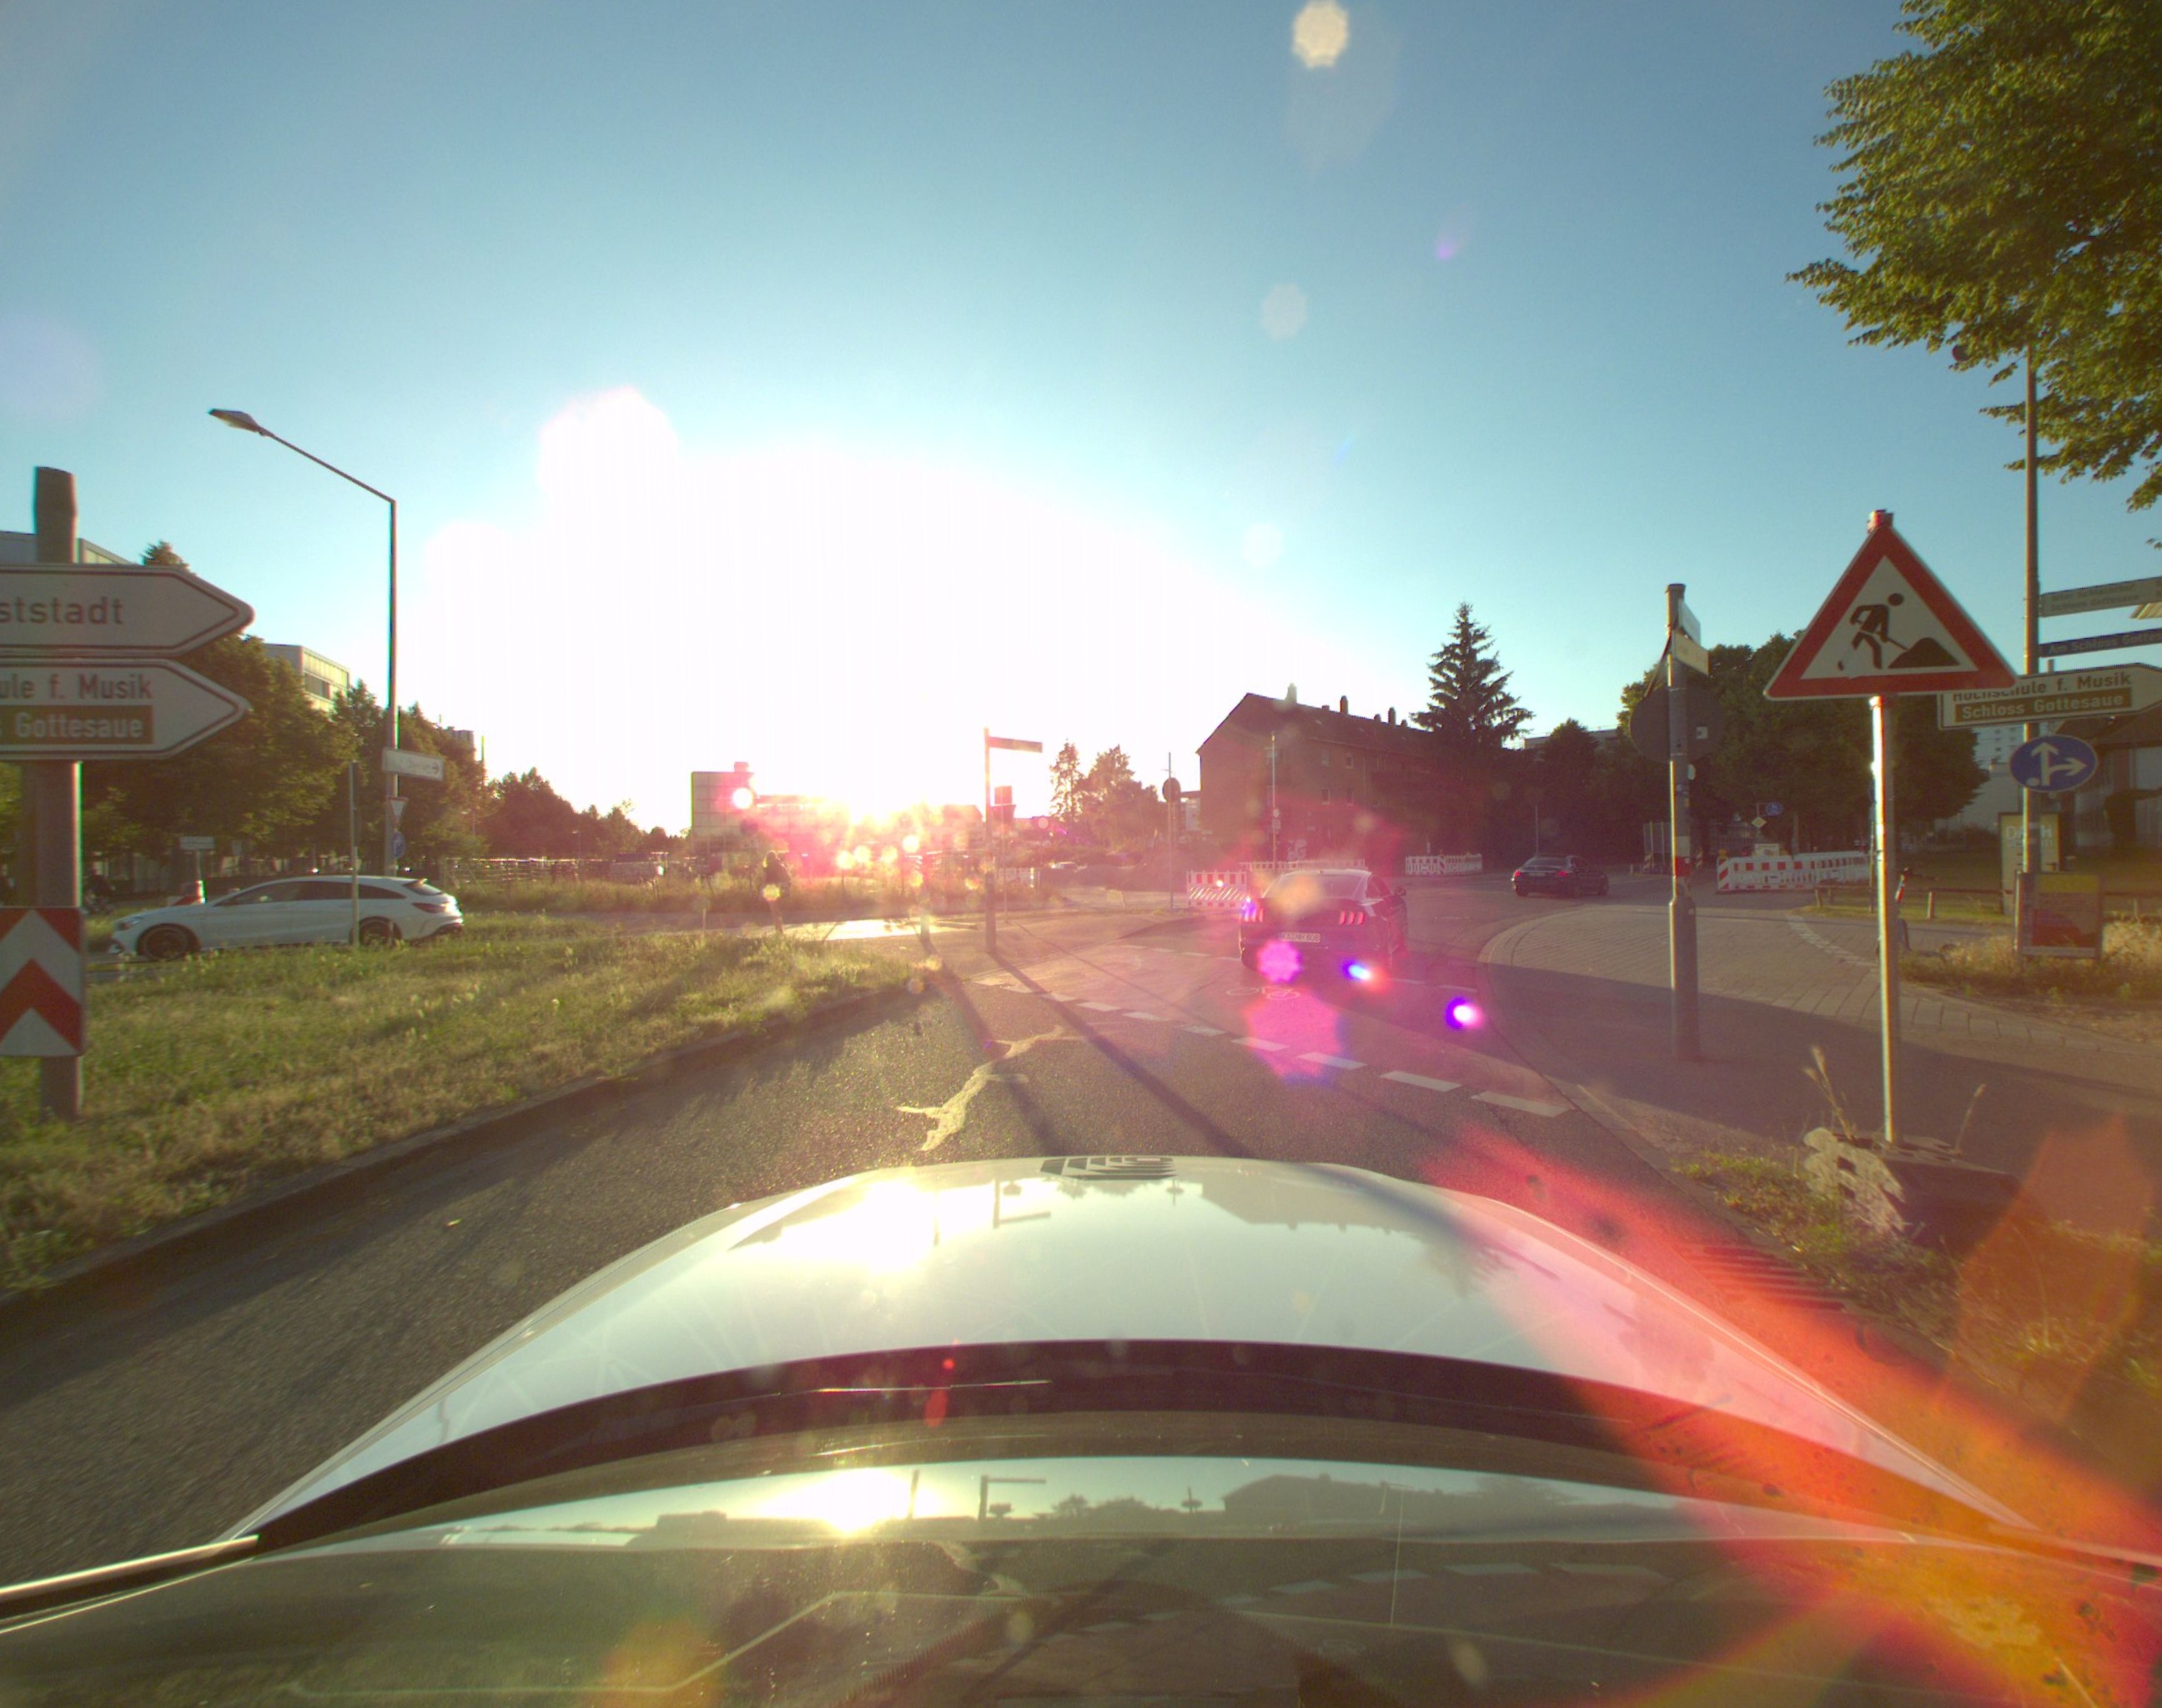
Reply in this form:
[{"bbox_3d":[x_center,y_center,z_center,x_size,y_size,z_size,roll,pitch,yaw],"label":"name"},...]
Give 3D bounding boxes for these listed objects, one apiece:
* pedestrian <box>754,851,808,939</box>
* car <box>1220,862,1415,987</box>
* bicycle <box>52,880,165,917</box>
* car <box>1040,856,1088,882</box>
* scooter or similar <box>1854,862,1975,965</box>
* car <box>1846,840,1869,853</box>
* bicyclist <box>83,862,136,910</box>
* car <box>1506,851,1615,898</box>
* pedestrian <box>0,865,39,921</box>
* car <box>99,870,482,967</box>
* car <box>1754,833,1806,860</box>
[{"bbox_3d":[-5.963,0.784,16.179,0.849,1.686,0.878,-1,0,-31],"label":"pedestrian"},{"bbox_3d":[3.683,0.848,11.993,1.933,1.342,4.698,0,1,26],"label":"car"},{"bbox_3d":[-33.999,1.542,28.524,2.416,1.167,0.747,-1,0,-30],"label":"bicycle"},{"bbox_3d":[-1.225,1.041,57.946,2.003,1.706,3.967,-1,0,-25],"label":"car"},{"bbox_3d":[10.473,0.733,10.251,1.118,1.238,0.442,-1,0,-4],"label":"scooter or similar"},{"bbox_3d":[97.083,-0.935,101.799,4.101,1.602,1.934,0,0,-44],"label":"car"},{"bbox_3d":[-33.992,1.097,28.508,0.981,1.612,0.747,-1,0,-30],"label":"bicyclist"},{"bbox_3d":[16.261,0.629,27.543,4.454,1.427,1.934,-1,1,-42],"label":"car"},{"bbox_3d":[-35.759,1.294,26.988,1.154,1.827,0.979,-1,0,-1],"label":"pedestrian"},{"bbox_3d":[-14.255,1.084,15.157,4.664,1.453,2.058,-1,-1,-25],"label":"car"},{"bbox_3d":[45.292,-0.507,52.737,4.454,1.571,1.934,-2,2,-41],"label":"car"}]
